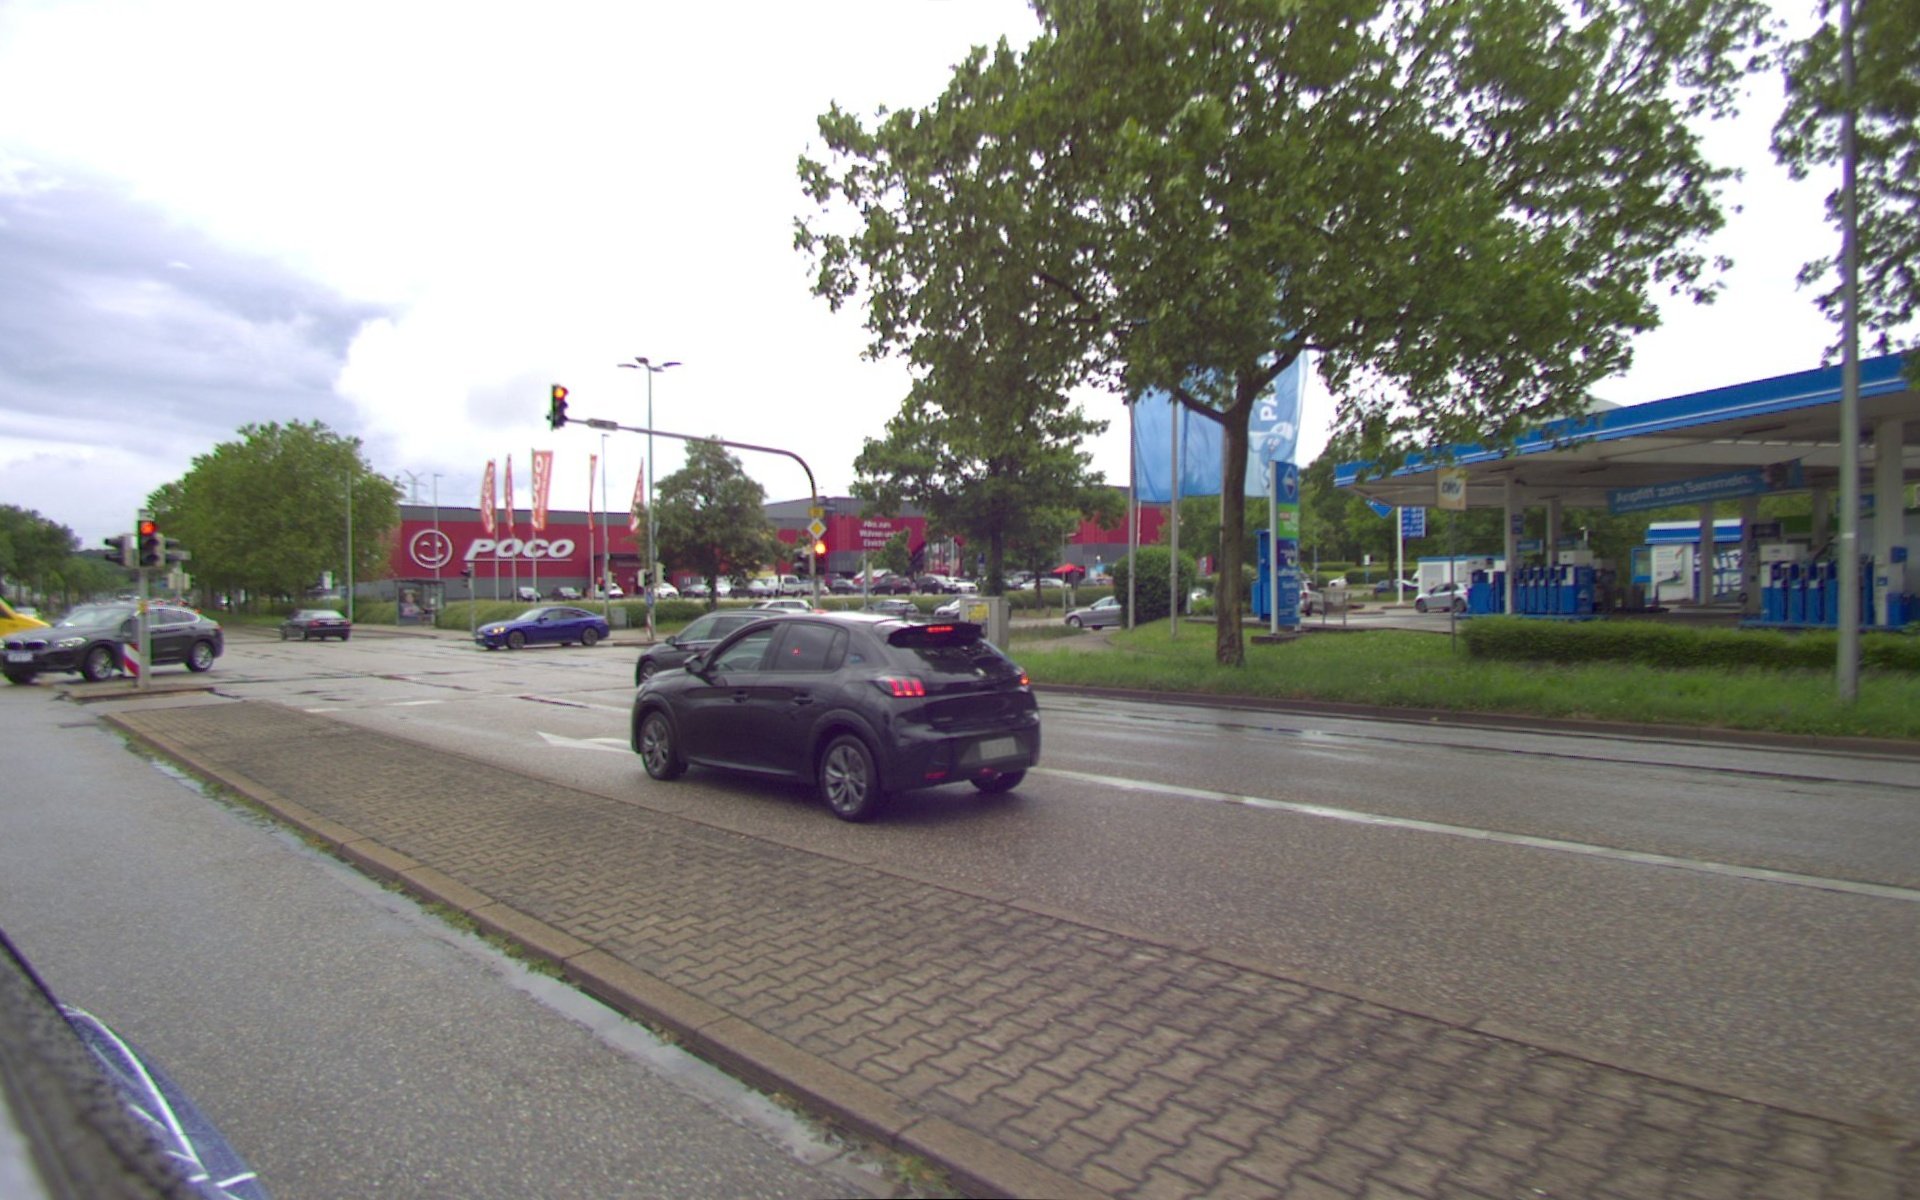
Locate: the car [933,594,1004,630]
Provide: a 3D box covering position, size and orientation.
[{"bbox_3d":[0.438,0.585,52.108,3.485,1.709,1.604,-1,1,-42],"label":"car"}]

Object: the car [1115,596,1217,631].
[{"bbox_3d":[9.987,0.650,49.307,4.587,1.601,1.902,-1,-1,43],"label":"car"}]

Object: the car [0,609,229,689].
[{"bbox_3d":[-18.778,0.997,22.371,1.876,1.565,4.590,0,-1,1],"label":"car"}]

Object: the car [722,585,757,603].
[{"bbox_3d":[-21.238,-0.537,97.409,1.646,1.658,3.970,0,-1,-39],"label":"car"}]

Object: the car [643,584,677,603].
[{"bbox_3d":[-27.688,-0.545,93.354,1.646,1.658,3.970,0,-1,-39],"label":"car"}]

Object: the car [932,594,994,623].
[{"bbox_3d":[0.174,0.543,61.743,3.661,1.737,1.661,-1,-1,43],"label":"car"}]

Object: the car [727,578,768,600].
[{"bbox_3d":[-16.806,-0.863,79.978,1.646,1.658,3.834,0,-1,-39],"label":"car"}]

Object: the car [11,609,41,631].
[{"bbox_3d":[-73.132,1.567,79.280,1.596,1.741,3.683,0,-1,-41],"label":"car"}]

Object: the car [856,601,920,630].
[{"bbox_3d":[-4.148,0.890,58.128,3.661,1.565,1.661,-1,-1,43],"label":"car"}]

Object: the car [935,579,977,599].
[{"bbox_3d":[-0.365,-0.929,87.344,1.646,1.658,3.834,0,-1,-39],"label":"car"}]

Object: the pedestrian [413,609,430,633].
[{"bbox_3d":[-31.816,1.245,59.791,0.769,1.442,0.642,1,-2,-43],"label":"pedestrian"}]

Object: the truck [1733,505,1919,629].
[{"bbox_3d":[21.847,-0.722,22.324,2.119,2.695,7.895,0,-1,-15],"label":"truck"}]

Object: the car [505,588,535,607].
[{"bbox_3d":[-41.395,-0.236,95.148,1.670,1.658,3.970,0,-1,-39],"label":"car"}]

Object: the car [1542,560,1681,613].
[{"bbox_3d":[24.673,-0.485,38.522,1.913,1.821,4.140,-3,1,-17],"label":"car"}]

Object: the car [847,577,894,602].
[{"bbox_3d":[-9.039,-1.016,101.734,1.797,2.321,5.658,0,-1,-39],"label":"car"}]

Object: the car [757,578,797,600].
[{"bbox_3d":[-14.911,-0.856,82.258,1.606,1.658,3.834,0,-1,-39],"label":"car"}]

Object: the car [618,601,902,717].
[{"bbox_3d":[-3.235,0.811,15.703,4.731,1.520,1.971,-1,-1,44],"label":"car"}]

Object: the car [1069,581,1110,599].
[{"bbox_3d":[12.429,-0.909,97.465,1.646,1.658,3.834,0,-1,-39],"label":"car"}]

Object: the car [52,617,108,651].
[{"bbox_3d":[-39.560,1.523,45.470,1.693,1.475,4.004,3,-3,-43],"label":"car"}]

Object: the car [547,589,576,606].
[{"bbox_3d":[-40.143,-0.217,101.949,1.670,1.658,3.970,0,-1,-39],"label":"car"}]

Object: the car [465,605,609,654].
[{"bbox_3d":[-15.179,1.020,36.530,1.800,1.645,4.490,-1,-1,40],"label":"car"}]

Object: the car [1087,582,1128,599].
[{"bbox_3d":[14.460,-0.905,99.311,1.646,1.658,3.834,0,-1,-39],"label":"car"}]

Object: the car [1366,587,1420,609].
[{"bbox_3d":[32.876,-0.123,76.897,3.473,1.667,1.592,0,0,45],"label":"car"}]

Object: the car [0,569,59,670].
[{"bbox_3d":[-25.523,0.535,24.702,2.244,2.492,4.951,-2,0,38],"label":"car"}]

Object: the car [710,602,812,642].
[{"bbox_3d":[-8.676,0.949,44.284,3.938,1.565,1.904,-2,0,-41],"label":"car"}]

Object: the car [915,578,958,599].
[{"bbox_3d":[-2.011,-0.936,85.144,1.646,1.658,3.834,0,-1,-39],"label":"car"}]

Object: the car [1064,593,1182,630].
[{"bbox_3d":[7.141,0.544,44.700,4.902,1.560,1.972,-2,-1,43],"label":"car"}]

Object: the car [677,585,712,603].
[{"bbox_3d":[-24.806,-0.543,94.526,1.646,1.658,3.970,0,-1,-39],"label":"car"}]

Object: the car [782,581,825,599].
[{"bbox_3d":[-12.260,-0.763,79.168,1.646,1.391,3.916,0,-1,-39],"label":"car"}]

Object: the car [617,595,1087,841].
[{"bbox_3d":[-1.043,0.759,8.183,3.893,1.520,1.625,-1,-1,43],"label":"car"}]

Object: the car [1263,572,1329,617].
[{"bbox_3d":[14.109,-0.212,42.440,1.808,1.811,3.659,0,0,32],"label":"car"}]

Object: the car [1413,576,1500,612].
[{"bbox_3d":[25.219,-0.288,51.557,1.765,1.741,4.010,0,-1,-13],"label":"car"}]

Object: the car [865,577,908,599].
[{"bbox_3d":[-5.979,-0.942,82.221,1.646,1.658,3.834,0,-1,-39],"label":"car"}]

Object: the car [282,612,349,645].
[{"bbox_3d":[-29.370,1.267,46.084,1.762,1.415,4.002,0,-1,-45],"label":"car"}]

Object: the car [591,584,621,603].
[{"bbox_3d":[-36.942,-0.654,105.582,1.764,1.940,3.756,0,-1,-40],"label":"car"}]

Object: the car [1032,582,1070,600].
[{"bbox_3d":[9.132,-0.894,101.810,1.646,1.658,3.834,0,-1,-39],"label":"car"}]

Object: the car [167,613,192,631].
[{"bbox_3d":[-79.331,2.252,102.858,1.814,1.601,4.007,1,-4,-40],"label":"car"}]
